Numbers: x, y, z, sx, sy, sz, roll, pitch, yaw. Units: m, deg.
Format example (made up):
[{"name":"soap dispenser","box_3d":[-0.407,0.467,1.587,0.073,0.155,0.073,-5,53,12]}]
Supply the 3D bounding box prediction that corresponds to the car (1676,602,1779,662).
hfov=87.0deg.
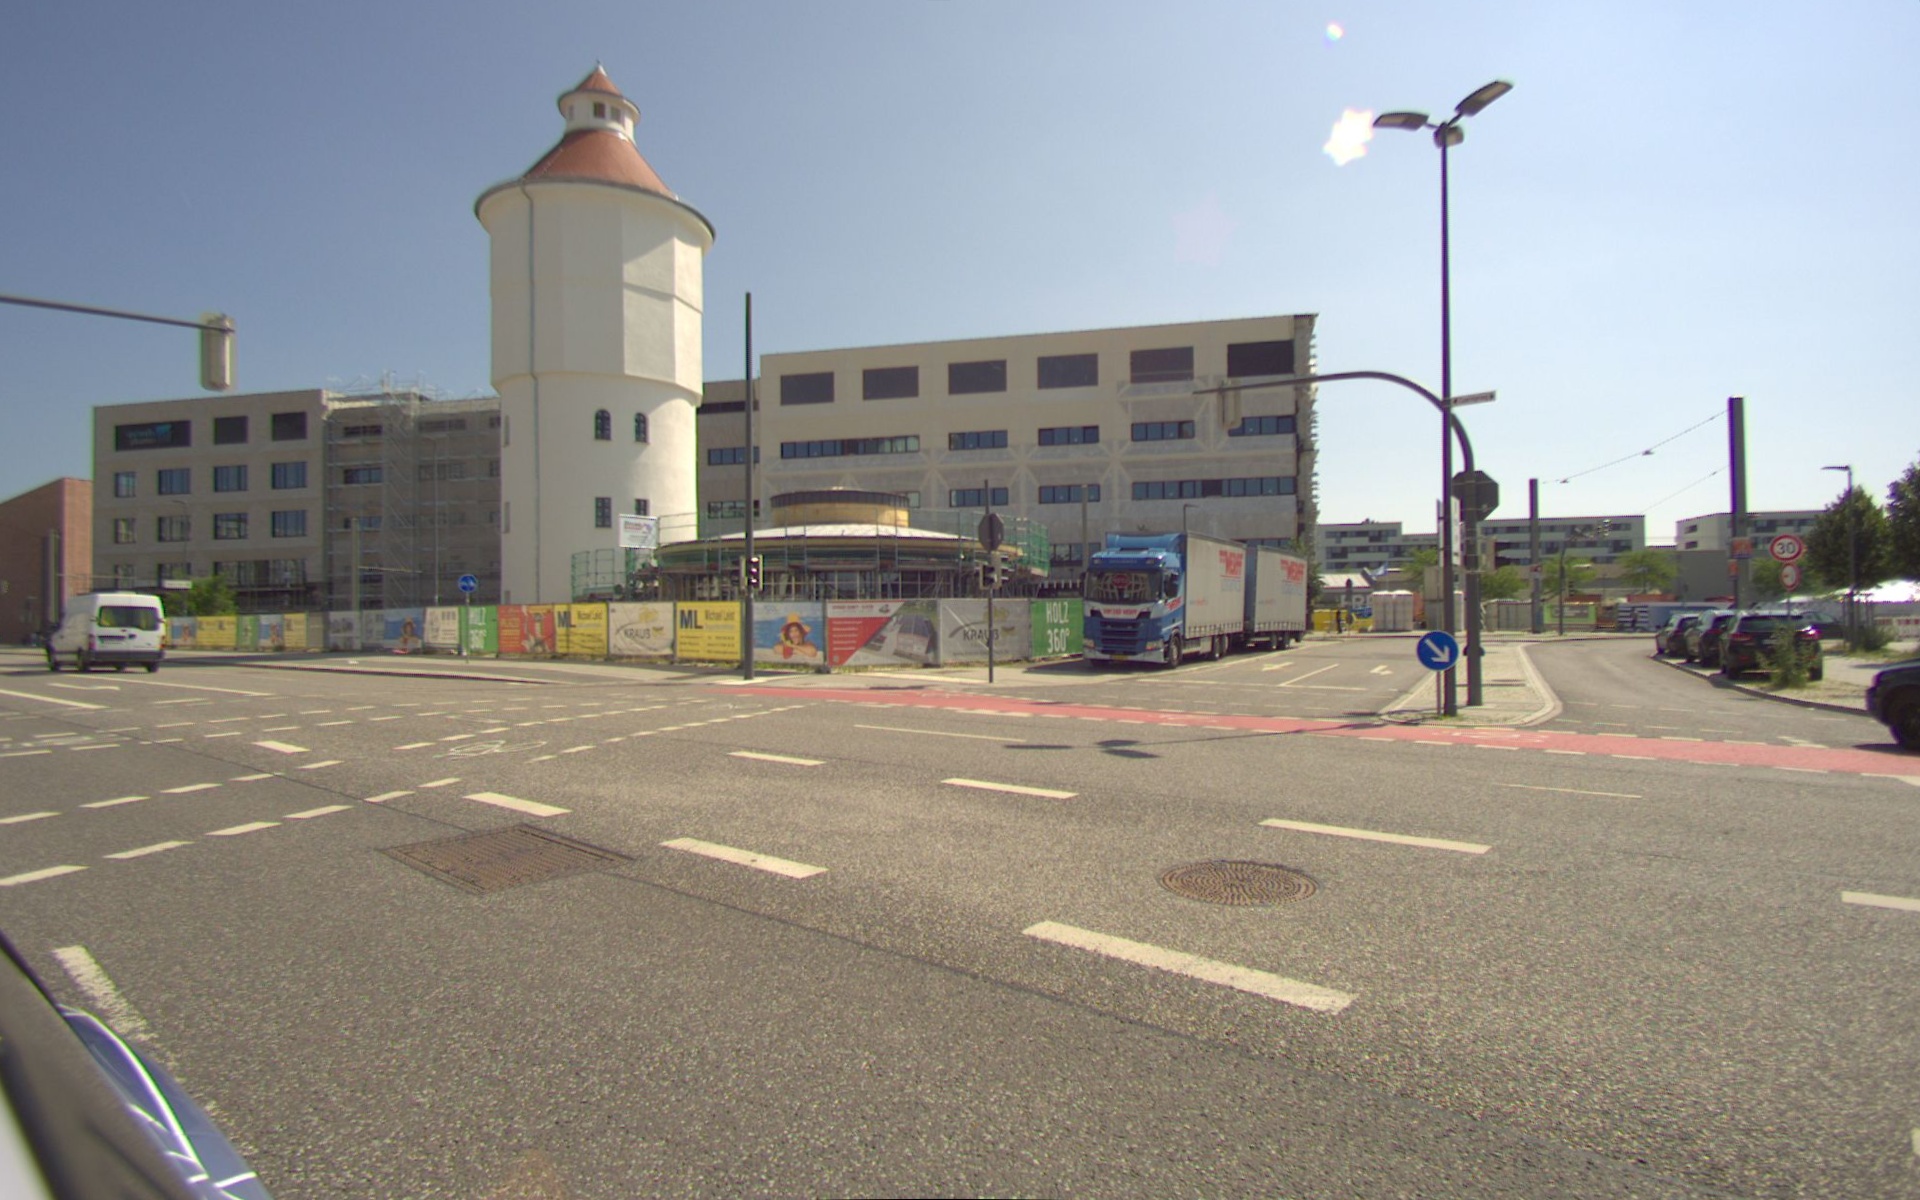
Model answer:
[{"name":"car","box_3d":[22.584,0.897,29.926,1.873,1.652,3.959,-2,-1,30]}]

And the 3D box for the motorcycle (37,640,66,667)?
[{"name":"motorcycle","box_3d":[-40.010,2.330,44.556,2.212,1.112,0.578,-1,-3,39]}]

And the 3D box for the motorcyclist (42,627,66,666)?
[{"name":"motorcyclist","box_3d":[-39.634,2.038,44.267,0.926,1.672,0.613,-1,-2,38]}]

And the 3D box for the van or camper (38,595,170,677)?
[{"name":"van or camper","box_3d":[-27.795,1.174,32.782,5.675,2.432,2.132,-2,-4,39]}]

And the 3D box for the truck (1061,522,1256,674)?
[{"name":"truck","box_3d":[6.846,-0.133,32.903,3.286,4.098,10.879,-1,1,27]}]

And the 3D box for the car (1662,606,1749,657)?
[{"name":"car","box_3d":[25.533,1.048,34.804,1.873,1.542,3.863,-4,-2,30]}]

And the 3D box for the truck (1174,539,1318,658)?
[{"name":"truck","box_3d":[12.226,-0.144,42.250,3.331,4.307,10.841,-1,1,29]}]

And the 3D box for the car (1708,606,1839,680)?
[{"name":"car","box_3d":[20.087,1.000,25.163,1.873,1.652,3.959,-2,-1,30]}]
